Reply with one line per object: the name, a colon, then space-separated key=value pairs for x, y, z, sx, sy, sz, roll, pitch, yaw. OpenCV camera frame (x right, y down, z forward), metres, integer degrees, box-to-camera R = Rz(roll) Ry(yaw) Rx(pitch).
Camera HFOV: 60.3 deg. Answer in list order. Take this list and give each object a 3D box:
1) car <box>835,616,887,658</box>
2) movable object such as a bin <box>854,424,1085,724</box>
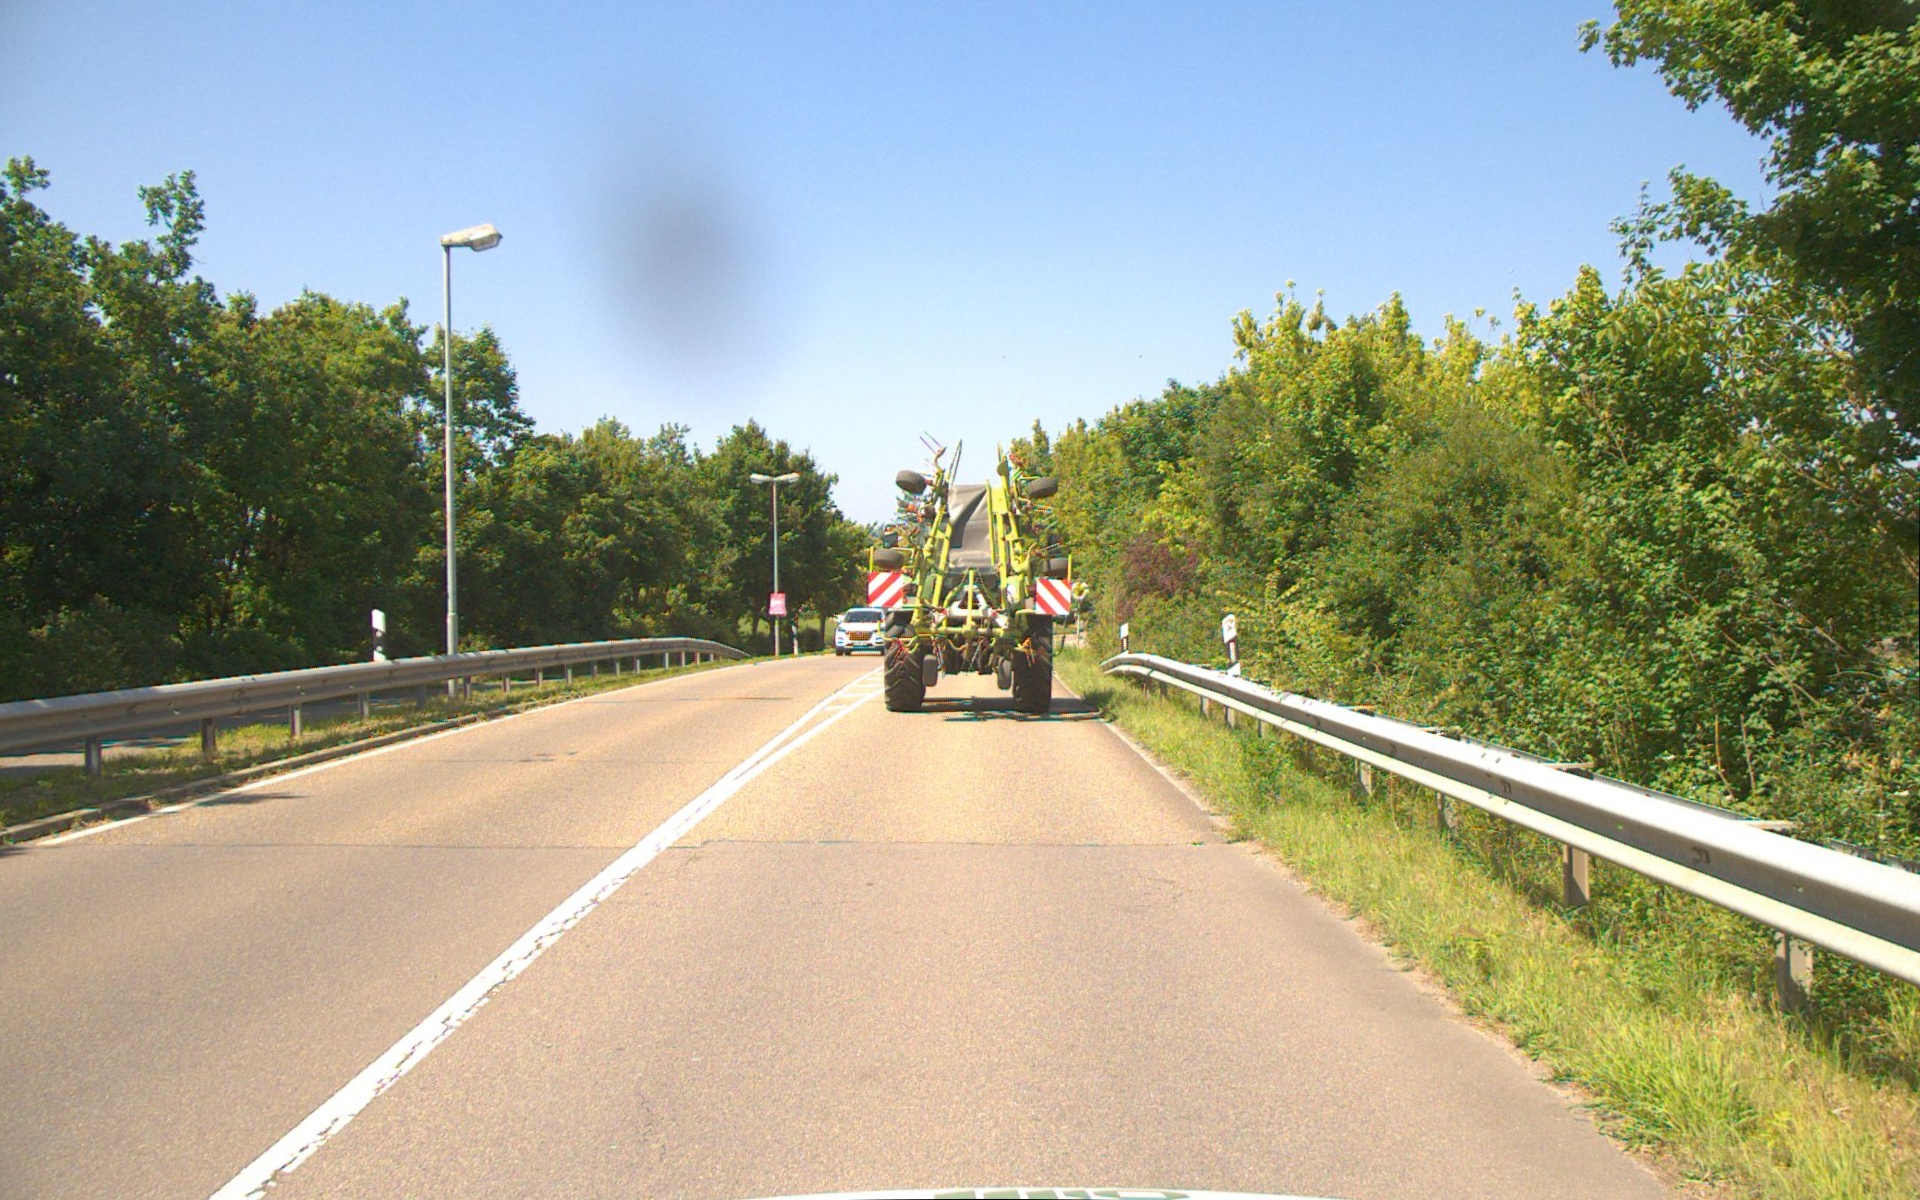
car: x=-3.485 y=1.288 z=58.576 sx=1.704 sy=1.400 sz=3.998 roll=1 pitch=0 yaw=-2
movable object such as a bin: x=0.125 y=-0.285 z=22.320 sx=2.698 sy=3.504 sz=5.669 roll=1 pitch=-1 yaw=0
